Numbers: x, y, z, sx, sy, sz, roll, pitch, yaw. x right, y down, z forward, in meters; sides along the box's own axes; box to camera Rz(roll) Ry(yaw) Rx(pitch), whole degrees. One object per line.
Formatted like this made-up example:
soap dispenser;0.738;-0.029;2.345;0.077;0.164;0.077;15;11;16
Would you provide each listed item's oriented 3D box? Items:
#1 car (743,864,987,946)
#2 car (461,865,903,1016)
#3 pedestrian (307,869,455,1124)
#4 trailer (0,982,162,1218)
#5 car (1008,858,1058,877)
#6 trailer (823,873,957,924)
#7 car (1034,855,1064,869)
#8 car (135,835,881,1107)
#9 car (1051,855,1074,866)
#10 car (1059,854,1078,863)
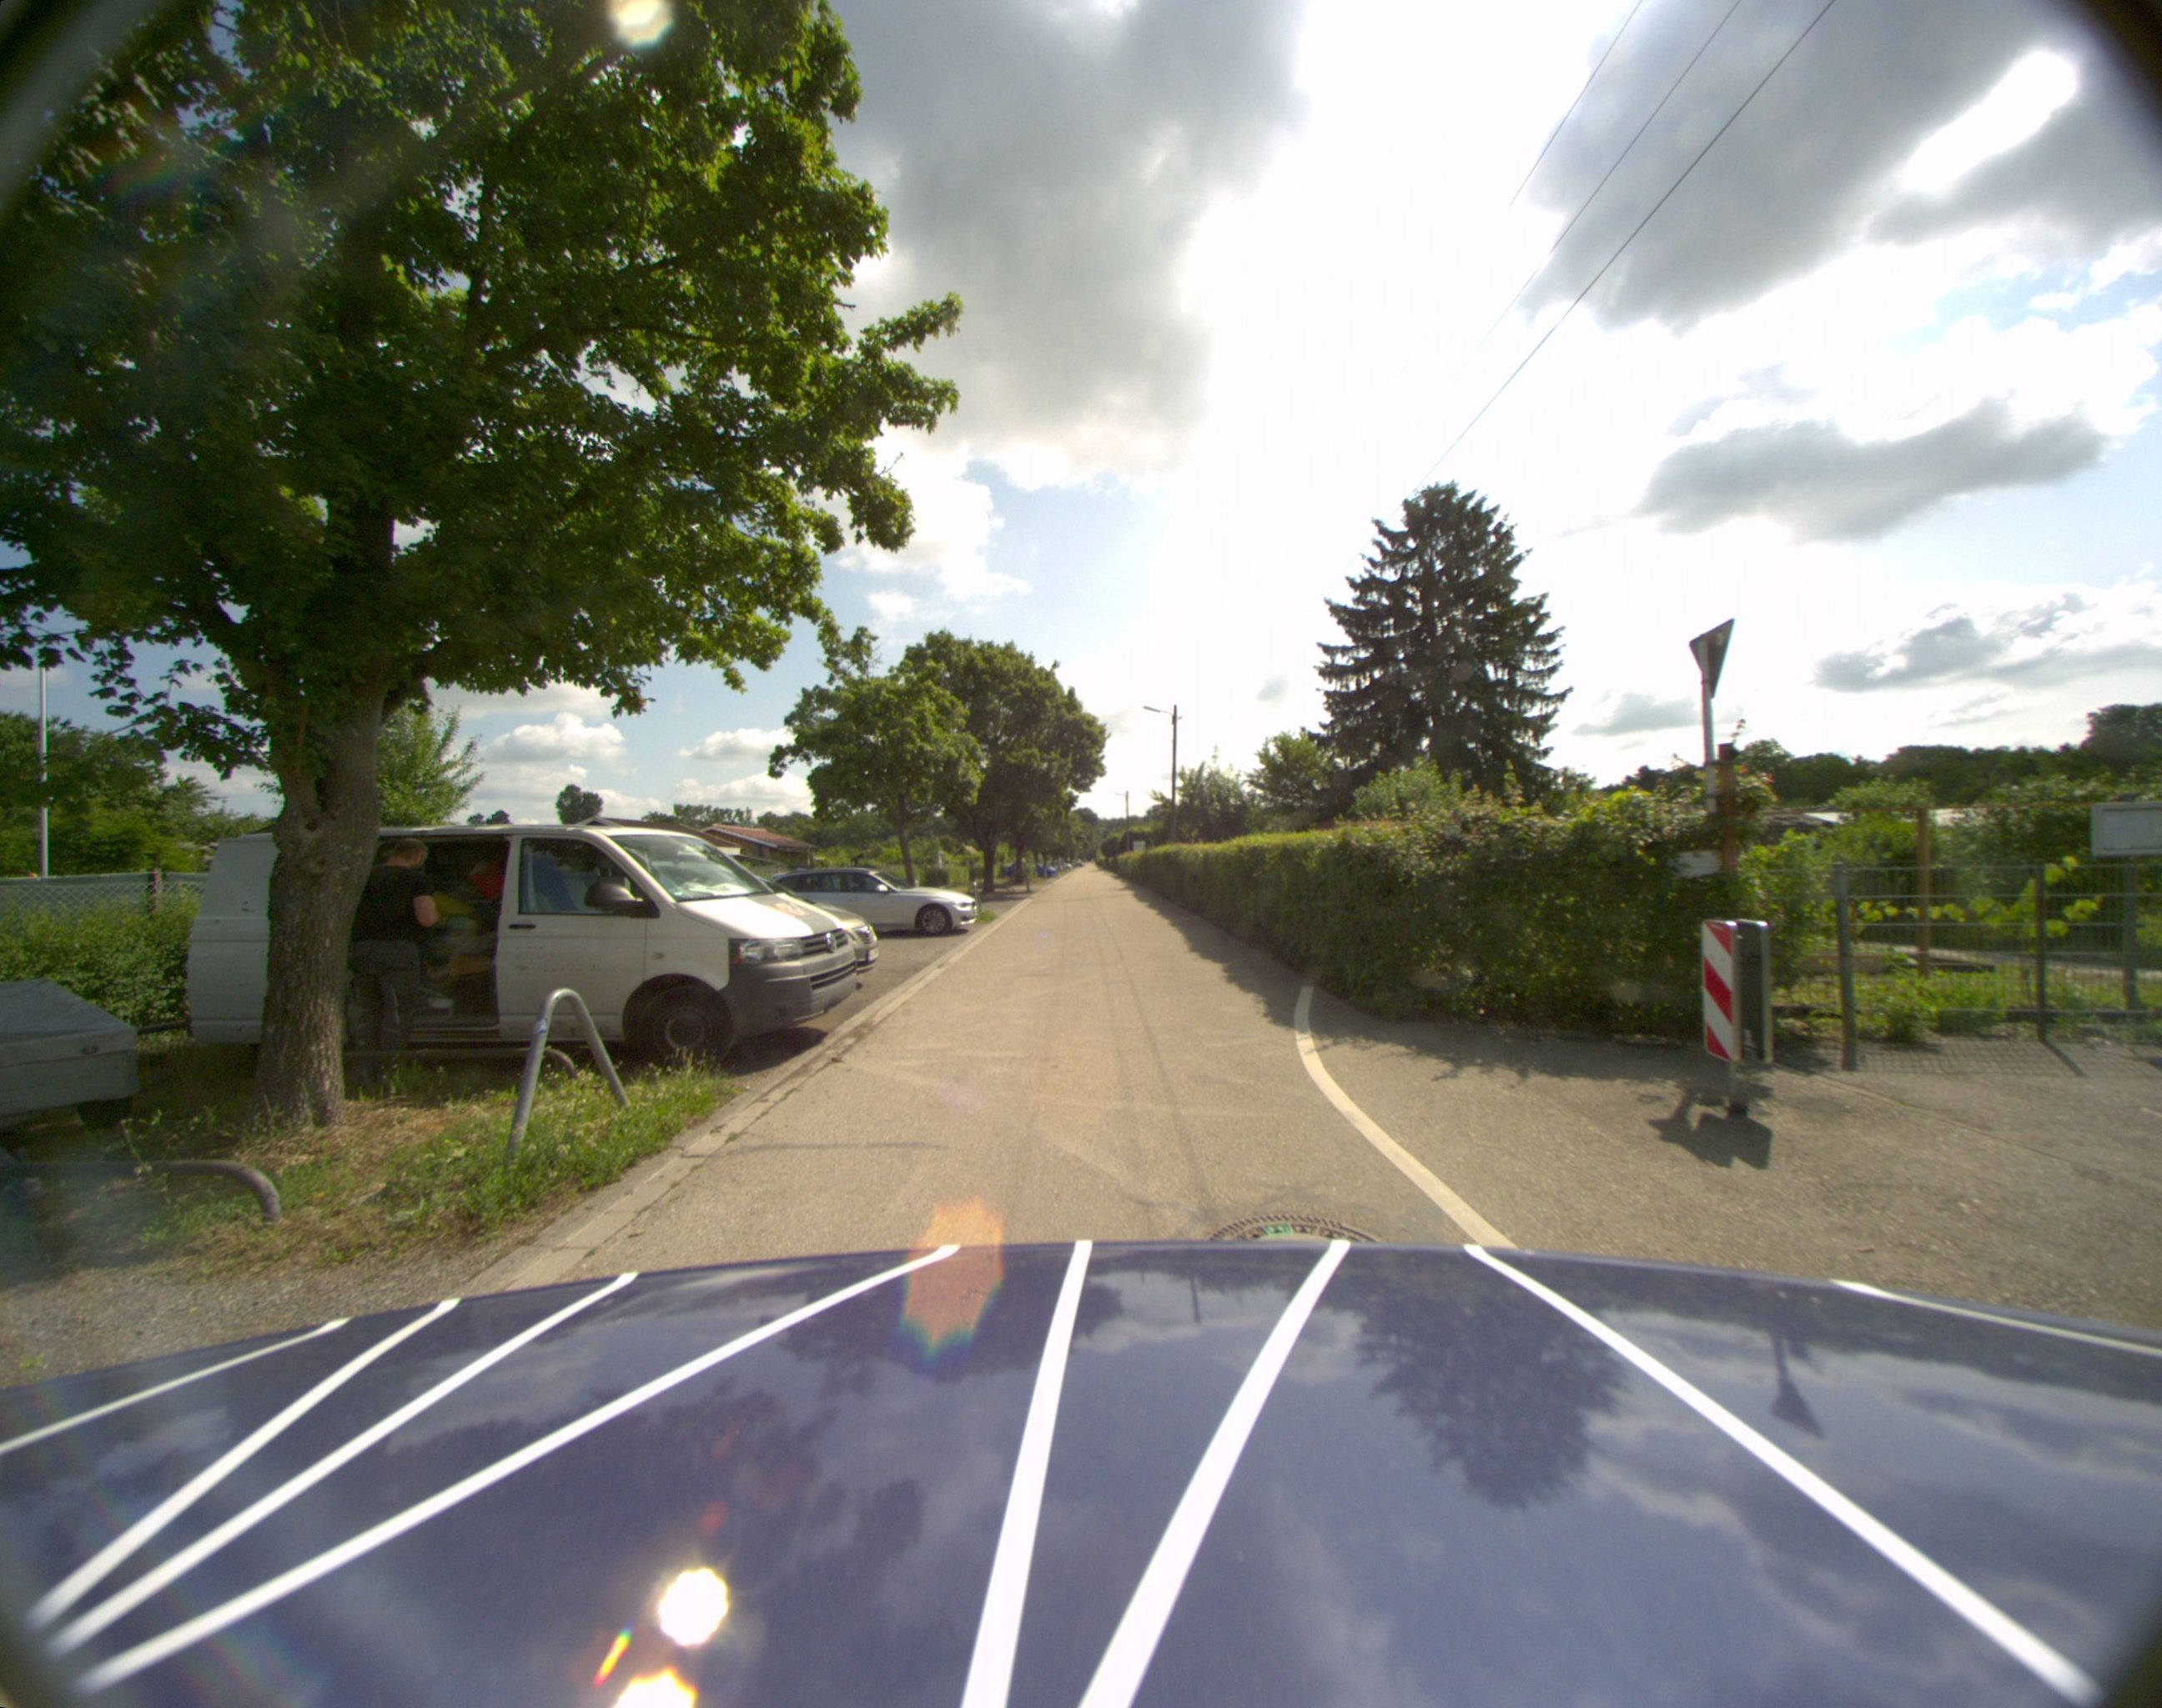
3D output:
car;-4.412;1.027;16.122;4.590;1.457;1.999;-2;0;-2
car;-4.533;0.947;9.165;4.254;1.583;2.000;0;0;1
pedestrian;-4.804;0.948;5.242;0.524;1.664;0.474;0;2;1
trailer;-6.681;1.351;4.147;3.059;0.872;1.562;-1;0;29
car;-4.071;1.145;64.838;4.116;1.573;1.781;-1;0;-1
trailer;-5.165;1.199;20.868;3.108;1.136;2.000;-3;1;1
car;-4.363;1.113;104.862;3.929;1.740;2.000;-3;1;0
car;-4.298;0.822;6.415;4.646;1.875;2.111;0;0;-1
car;-3.200;1.186;133.467;3.929;1.740;2.000;-3;1;0
car;-2.662;0.927;161.816;3.998;1.824;1.999;-3;1;-3
